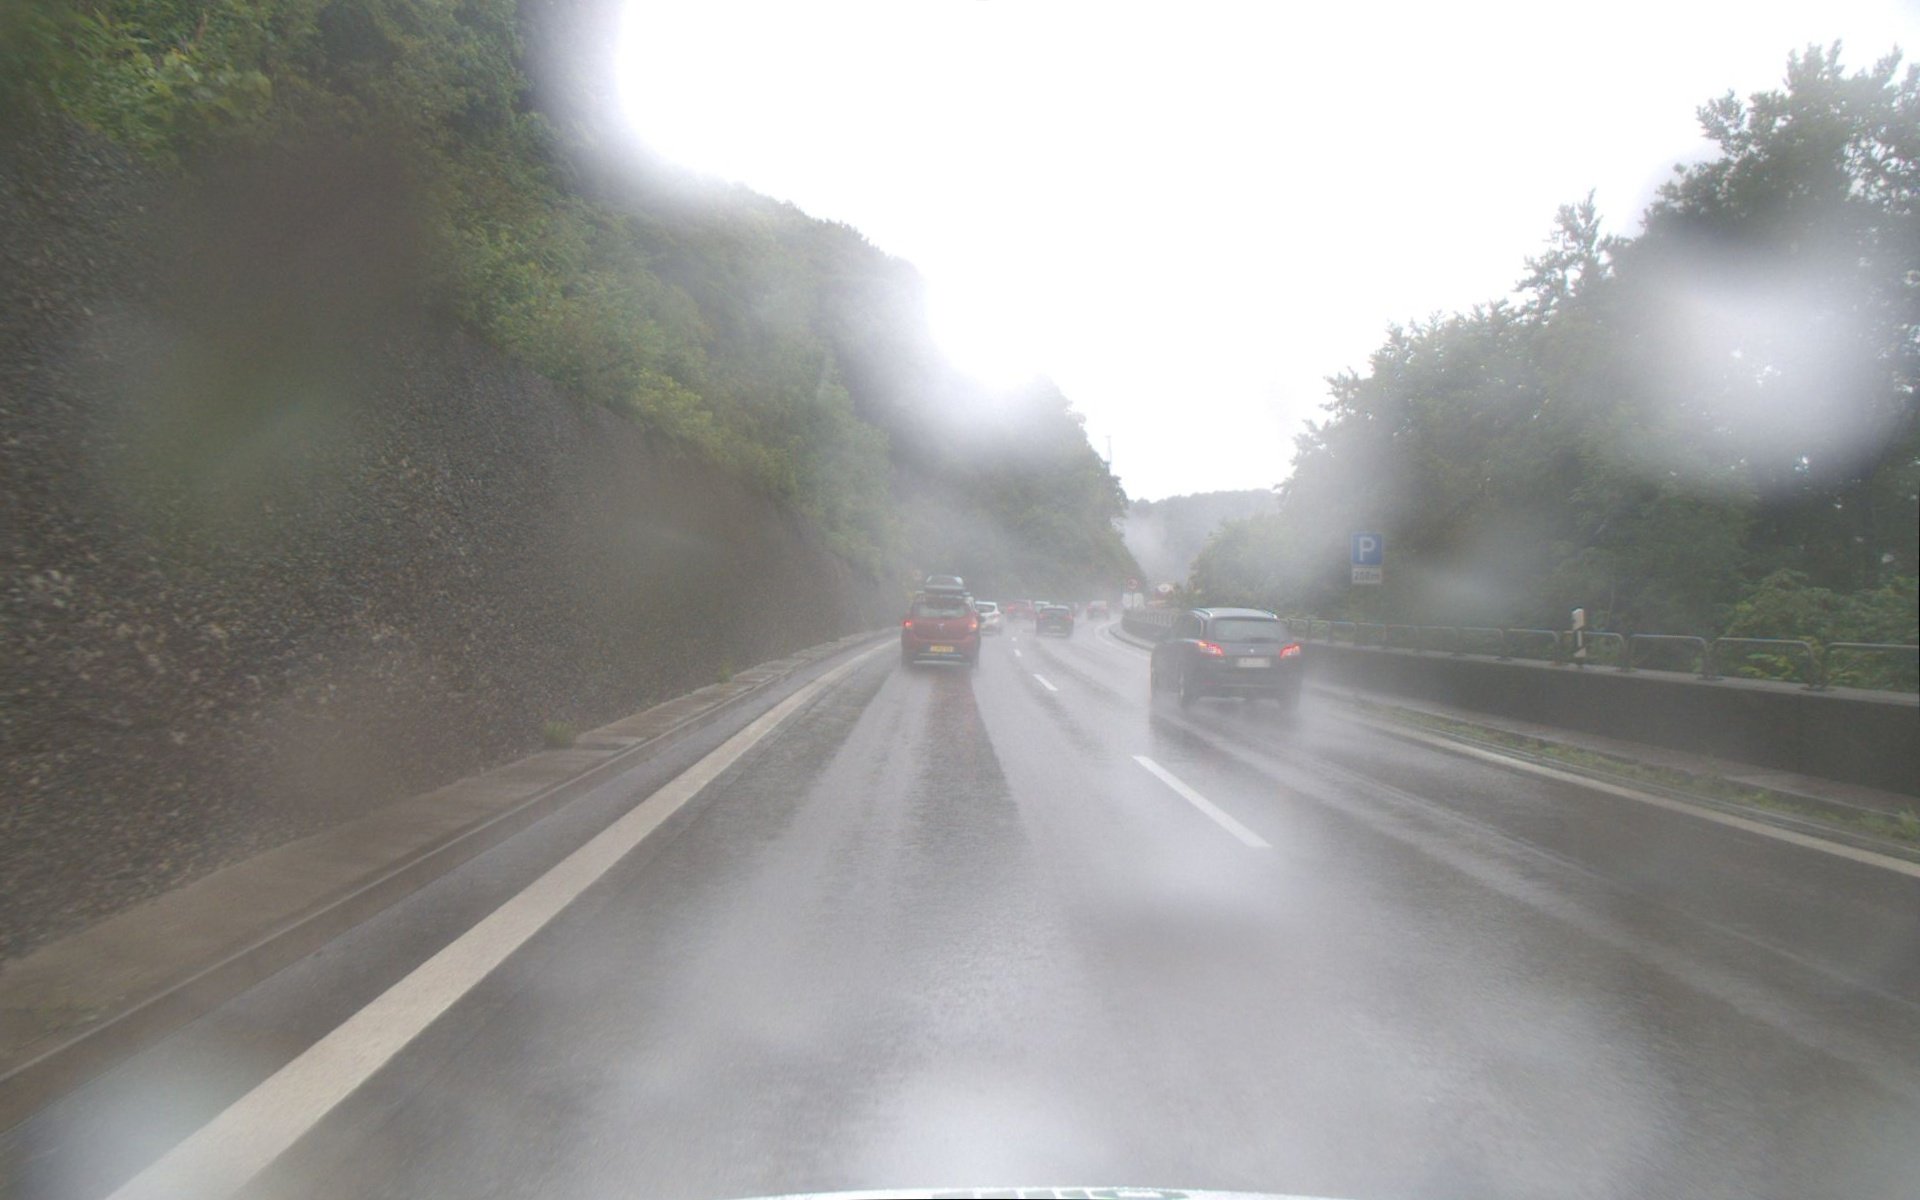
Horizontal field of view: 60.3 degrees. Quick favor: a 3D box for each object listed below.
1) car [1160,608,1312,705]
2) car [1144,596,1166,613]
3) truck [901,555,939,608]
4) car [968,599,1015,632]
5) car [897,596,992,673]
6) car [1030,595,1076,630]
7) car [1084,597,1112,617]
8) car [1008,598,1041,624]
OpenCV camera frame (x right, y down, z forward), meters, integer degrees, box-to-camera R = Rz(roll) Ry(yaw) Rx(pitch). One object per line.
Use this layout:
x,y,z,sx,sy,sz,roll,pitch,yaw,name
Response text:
4.140,0.805,25.370,1.763,1.330,4.001,1,0,2,car
23.579,0.515,200.174,2.397,2.049,4.739,1,0,5,car
-2.158,-0.976,90.368,1.953,2.799,5.585,1,0,-1,truck
1.364,0.669,72.865,1.953,1.378,3.999,1,0,-1,car
-0.391,0.720,36.452,1.953,1.579,3.998,1,0,-3,car
4.356,0.550,77.718,1.952,1.579,4.000,1,0,1,car
12.533,0.600,149.907,1.786,1.749,4.003,1,0,15,car
4.601,0.786,117.893,1.827,1.724,4.003,-2,-1,10,car
